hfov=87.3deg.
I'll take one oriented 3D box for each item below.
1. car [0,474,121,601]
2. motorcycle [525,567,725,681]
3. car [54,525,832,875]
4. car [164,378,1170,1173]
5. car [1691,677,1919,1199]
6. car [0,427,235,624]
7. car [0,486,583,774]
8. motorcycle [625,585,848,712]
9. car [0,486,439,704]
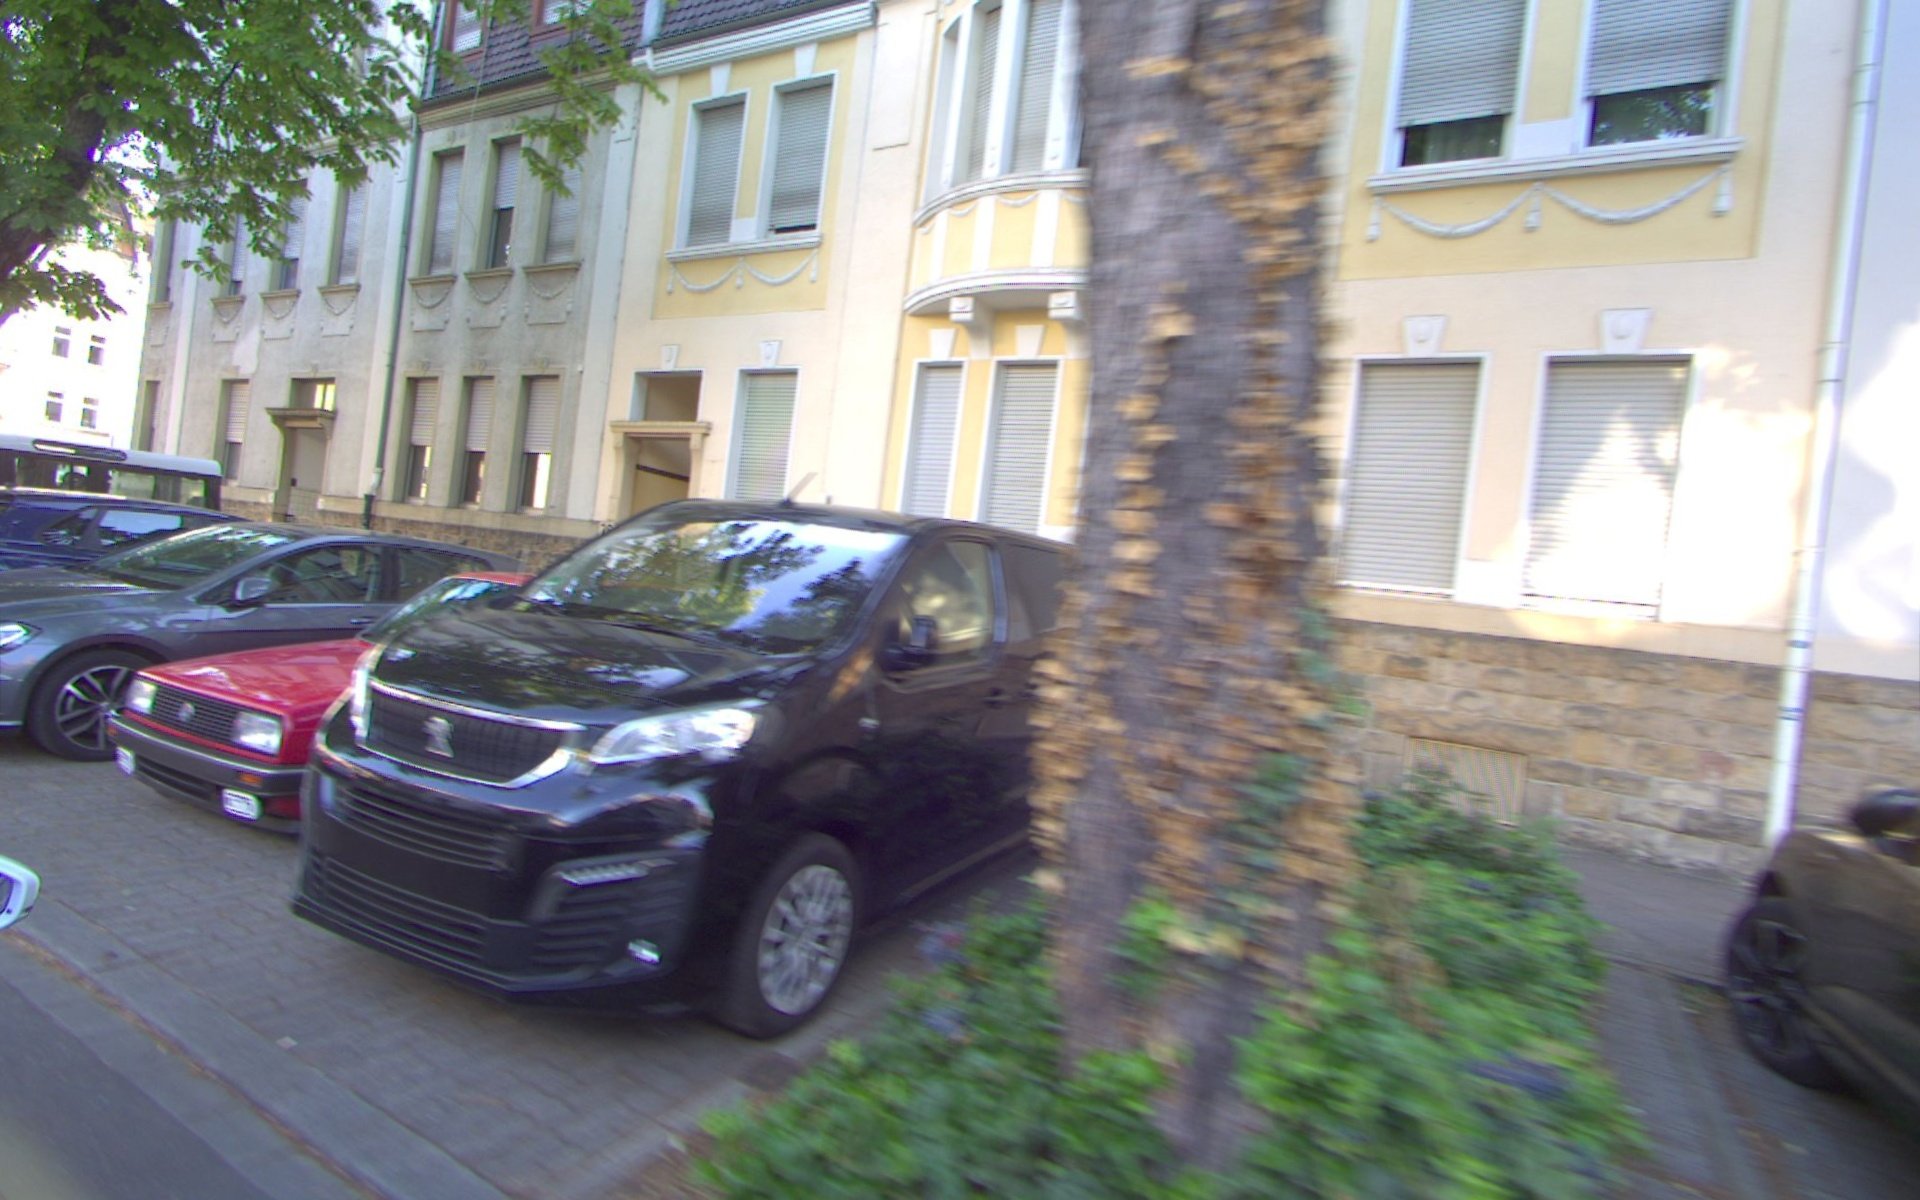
[{"bbox_3d":[-13.536,-0.967,12.983,1.679,1.589,3.730,7,0,28],"label":"car"},{"bbox_3d":[-4.347,0.271,12.919,2.821,1.087,0.694,8,3,30],"label":"motorcycle"},{"bbox_3d":[-2.687,0.497,6.341,1.601,1.332,4.144,7,0,26],"label":"car"},{"bbox_3d":[-0.596,0.460,4.942,1.864,1.898,4.759,7,0,26],"label":"car"},{"bbox_3d":[3.511,1.119,2.524,1.812,1.542,4.518,7,0,26],"label":"car"},{"bbox_3d":[-11.167,-0.922,11.325,1.671,2.061,4.473,7,0,28],"label":"car"},{"bbox_3d":[-4.881,0.164,6.968,1.693,1.470,4.060,7,0,28],"label":"car"},{"bbox_3d":[-2.592,0.516,11.547,2.439,1.087,0.959,8,2,31],"label":"motorcycle"},{"bbox_3d":[-6.612,-0.046,8.299,1.679,1.470,3.730,7,0,28],"label":"car"}]
